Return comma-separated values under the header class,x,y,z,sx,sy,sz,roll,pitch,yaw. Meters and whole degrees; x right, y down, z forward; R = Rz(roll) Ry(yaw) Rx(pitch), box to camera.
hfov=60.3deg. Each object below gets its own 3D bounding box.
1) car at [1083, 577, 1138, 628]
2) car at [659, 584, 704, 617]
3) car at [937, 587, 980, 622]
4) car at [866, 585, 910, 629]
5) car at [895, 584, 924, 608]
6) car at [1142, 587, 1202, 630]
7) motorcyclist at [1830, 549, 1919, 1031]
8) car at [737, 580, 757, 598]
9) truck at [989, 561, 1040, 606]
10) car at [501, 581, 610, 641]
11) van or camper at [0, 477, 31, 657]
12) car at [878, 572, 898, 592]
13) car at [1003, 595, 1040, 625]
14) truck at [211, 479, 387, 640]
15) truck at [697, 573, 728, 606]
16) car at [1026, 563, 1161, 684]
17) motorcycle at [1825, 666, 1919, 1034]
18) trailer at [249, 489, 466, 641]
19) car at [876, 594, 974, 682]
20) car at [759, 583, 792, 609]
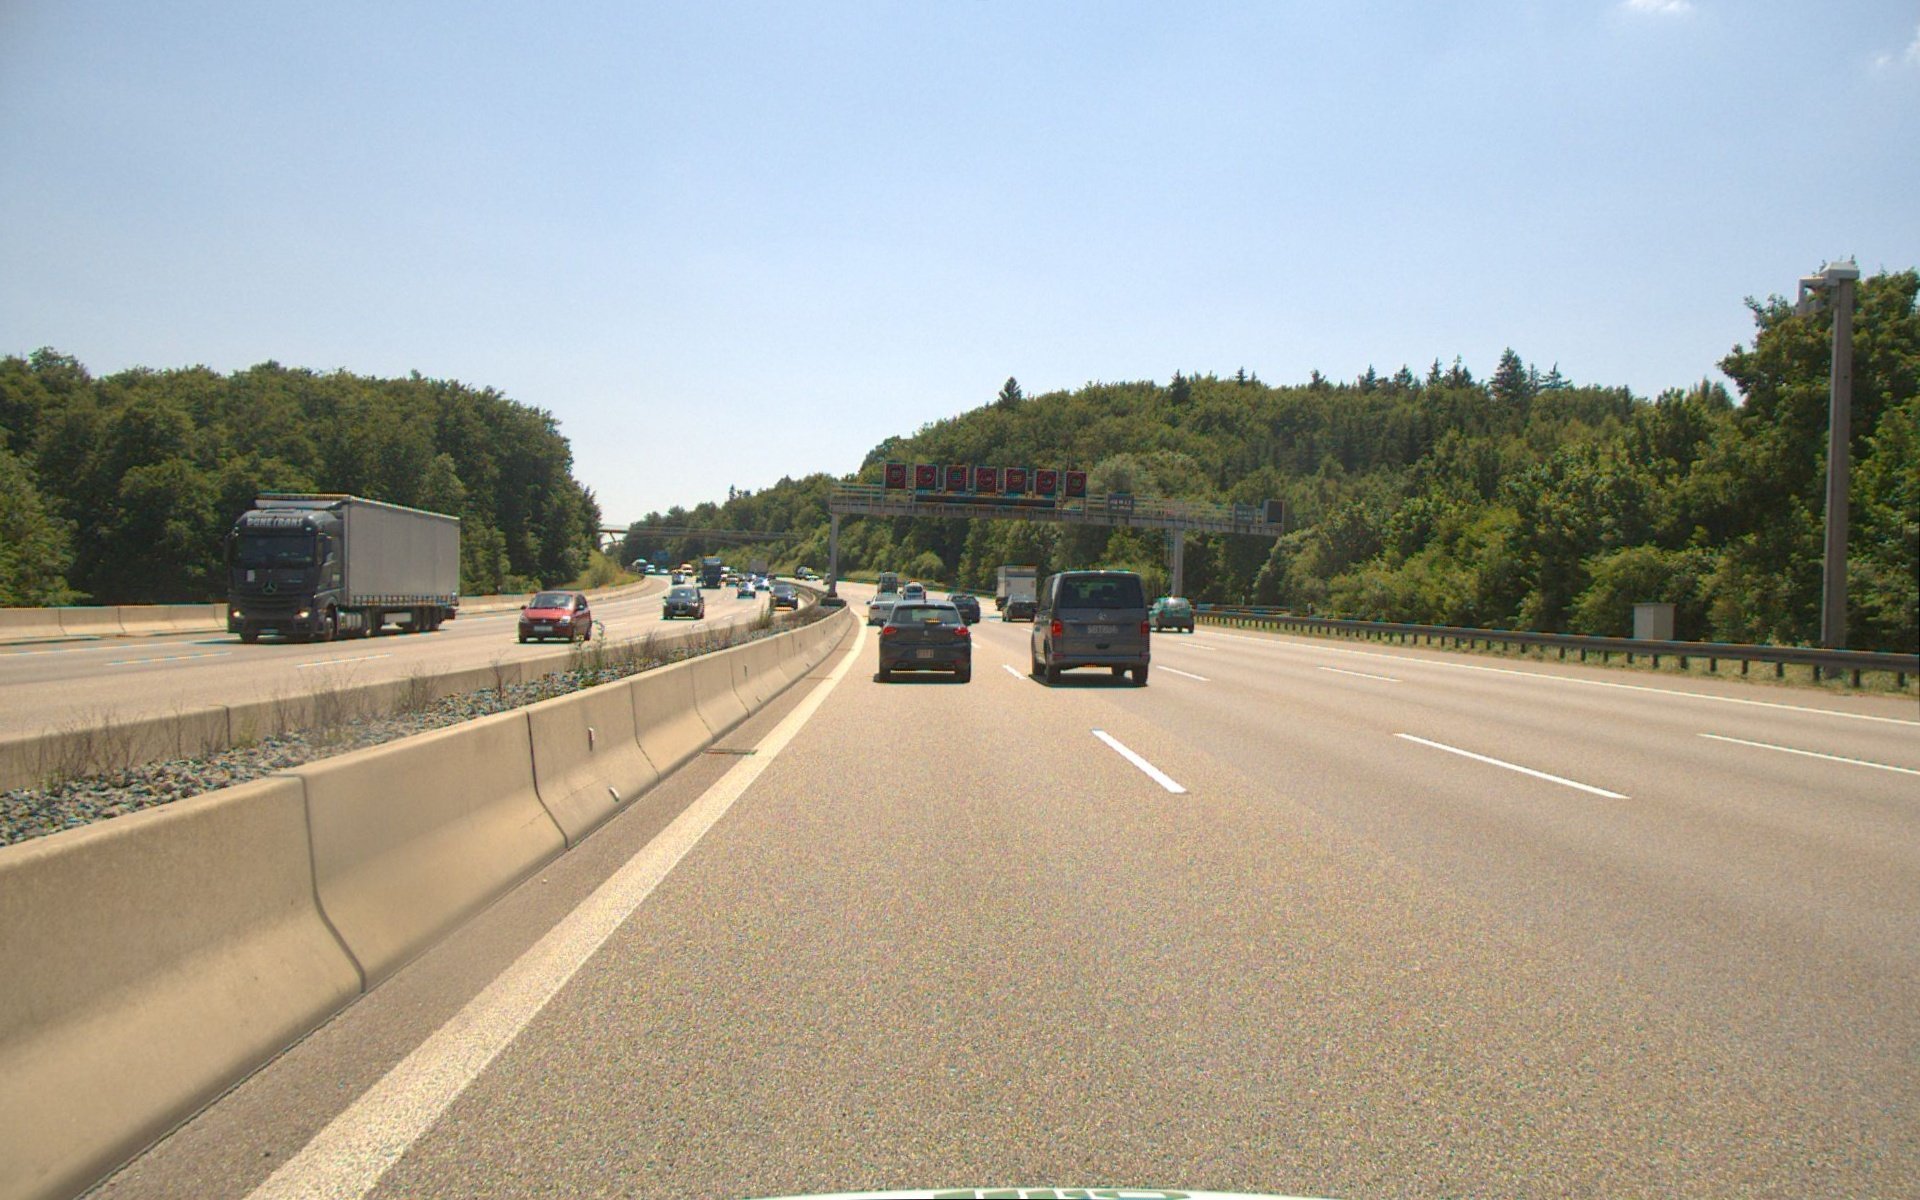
class,x,y,z,sx,sy,sz,roll,pitch,yaw
car,5.325,0.108,58.919,1.810,1.758,4.002,0,-1,4
car,-14.108,0.041,83.938,1.726,1.547,4.359,2,-1,-3
car,-0.092,0.247,85.059,1.954,1.758,4.146,0,-1,-3
car,-3.390,0.357,77.504,1.972,1.878,3.996,1,-2,-4
car,-4.011,-0.353,130.720,2.062,1.774,4.684,1,1,-5
car,8.935,0.360,69.988,1.953,1.758,3.999,0,0,-1
motorcyclist,3.316,0.573,5.034,0.835,1.452,1.024,0,0,3
car,-21.214,-1.078,164.721,1.720,1.663,4.634,0,1,-5
truck,4.033,-1.292,124.121,2.927,3.222,7.567,1,1,-5
car,-12.354,0.323,50.869,2.241,1.758,5.029,0,0,-2
van or camper,-18.279,-0.681,26.045,2.708,3.180,8.092,1,-1,-1
car,-8.700,-2.151,200.597,2.219,2.413,4.701,0,0,-1
car,3.237,0.511,88.213,1.632,1.433,4.902,1,1,-2
truck,-19.074,-1.105,48.179,2.819,4.365,6.449,0,0,-3
truck,-33.189,-1.374,221.955,3.713,4.250,5.871,2,0,-6
car,2.411,0.408,31.111,1.923,2.069,5.081,0,0,-2
motorcycle,3.323,0.826,4.754,0.524,1.155,2.438,0,0,3
trailer,-19.452,-1.010,54.653,2.807,4.337,13.950,0,0,-3
car,-0.663,0.654,30.914,1.673,1.458,3.999,1,1,-2
car,-12.549,-0.298,112.619,1.954,1.697,4.432,0,0,-3
